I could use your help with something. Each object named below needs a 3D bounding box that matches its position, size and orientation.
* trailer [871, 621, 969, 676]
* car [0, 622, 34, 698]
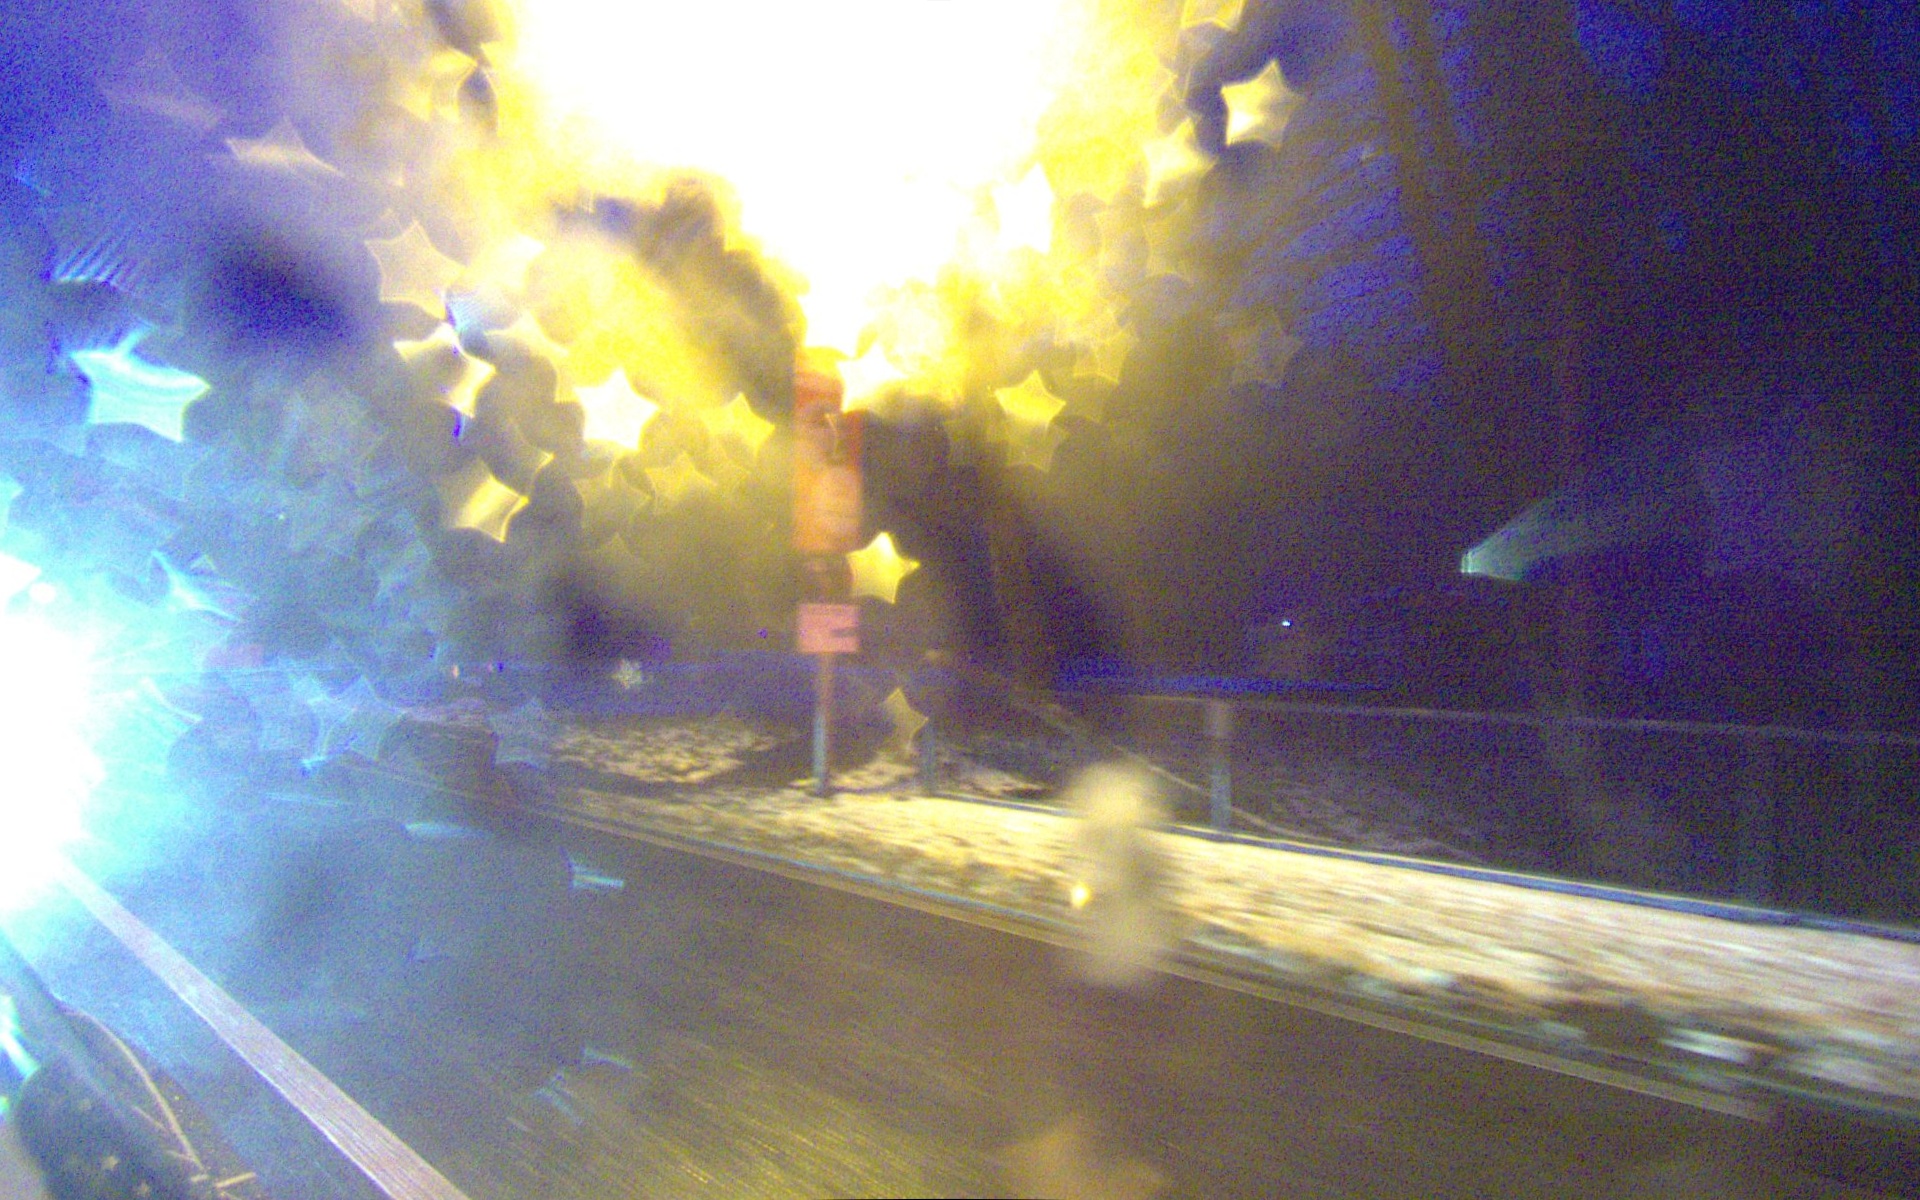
[{"bbox_3d":[-1.763,2.146,44.813,3.745,2.234,1.980,4,-2,-30],"label":"trailer"},{"bbox_3d":[-21.596,1.321,21.922,4.354,1.557,1.853,-4,-5,43],"label":"car"}]
